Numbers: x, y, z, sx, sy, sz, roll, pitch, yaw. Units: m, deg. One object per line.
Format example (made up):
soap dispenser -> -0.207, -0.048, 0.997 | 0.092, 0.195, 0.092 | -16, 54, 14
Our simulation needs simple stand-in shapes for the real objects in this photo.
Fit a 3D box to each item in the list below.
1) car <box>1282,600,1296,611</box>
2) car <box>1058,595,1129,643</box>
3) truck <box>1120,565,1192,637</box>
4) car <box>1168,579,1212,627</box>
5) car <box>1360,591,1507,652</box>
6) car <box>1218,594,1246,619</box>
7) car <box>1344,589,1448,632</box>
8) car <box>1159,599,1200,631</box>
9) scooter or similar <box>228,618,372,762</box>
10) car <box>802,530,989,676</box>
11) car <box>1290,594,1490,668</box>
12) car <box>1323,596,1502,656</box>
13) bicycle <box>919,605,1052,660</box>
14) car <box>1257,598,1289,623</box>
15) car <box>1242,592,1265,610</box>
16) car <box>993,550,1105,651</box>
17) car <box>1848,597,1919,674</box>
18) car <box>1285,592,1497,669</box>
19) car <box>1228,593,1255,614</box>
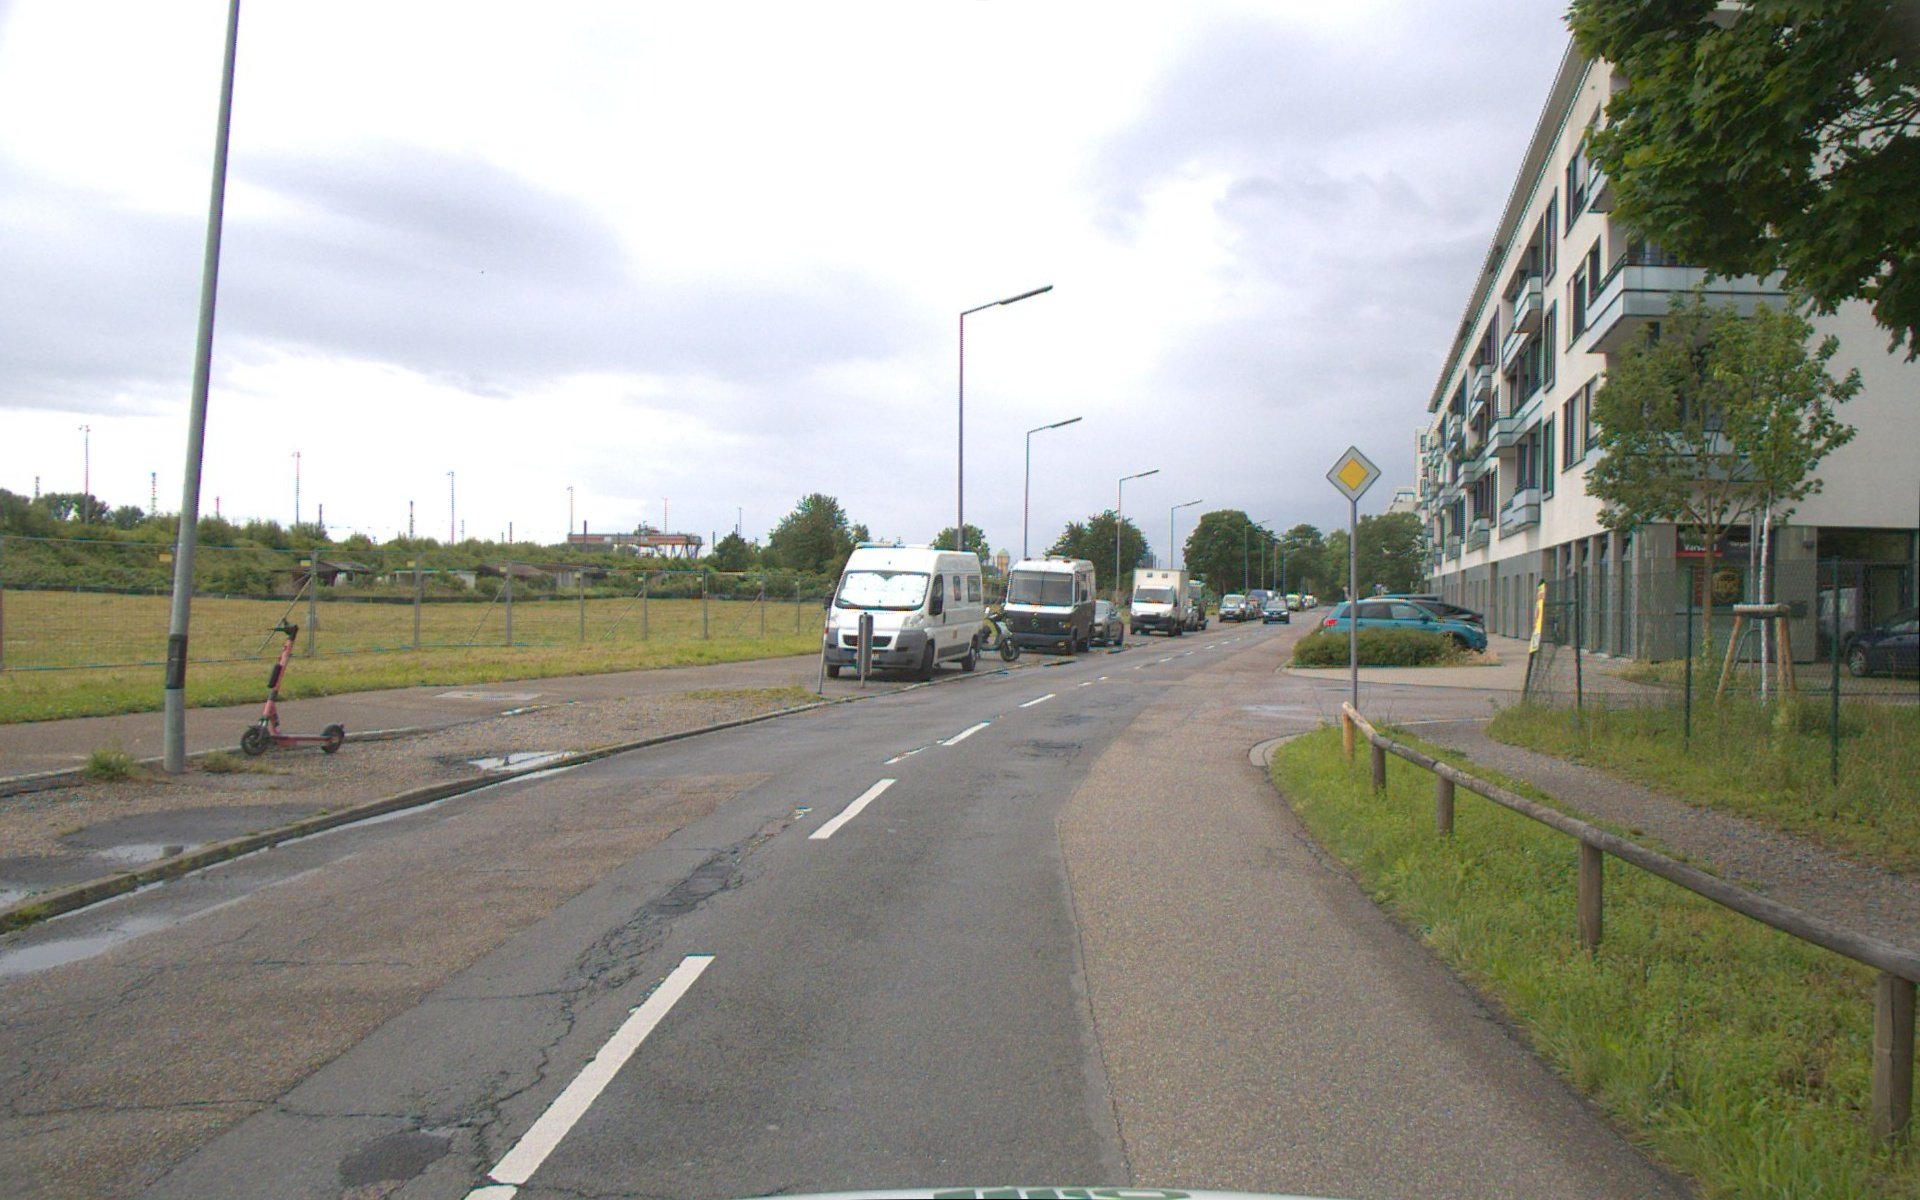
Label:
car -> 47.767, 0.845, 239.934 | 1.718, 1.552, 4.003 | 1, 0, 14
car -> 4.586, 0.618, 56.435 | 1.741, 1.531, 4.003 | 1, 0, 14
truck -> 9.078, 0.017, 76.067 | 2.409, 3.114, 8.169 | 1, 0, 13
car -> 12.969, 0.168, 93.047 | 1.962, 2.619, 4.790 | 1, 0, 13
car -> 14.611, 0.646, 51.231 | 4.234, 1.750, 2.002 | 1, 0, 12
car -> 19.728, 0.444, 119.716 | 1.614, 1.692, 3.578 | 1, 1, 15
car -> 18.778, 0.429, 71.368 | 4.234, 1.750, 2.002 | 1, 0, 12
car -> 11.369, 0.752, 85.675 | 1.717, 1.552, 4.003 | 1, 0, 13
scooter or similar -> -6.051, 0.791, 15.258 | 0.596, 1.203, 1.701 | 3, 0, -1
car -> -1.121, 0.038, 32.930 | 2.240, 2.600, 6.416 | 1, 0, 11
car -> 10.852, 0.763, 41.972 | 4.757, 1.692, 1.844 | 1, 1, 13
car -> 12.720, 0.717, 46.757 | 4.757, 1.526, 1.844 | 1, 1, 13
bicycle -> 0.651, 0.792, 40.879 | 3.054, 1.220, 1.366 | 1, 1, 13
car -> 22.466, 0.756, 118.633 | 1.999, 1.692, 4.110 | 1, 1, 14
car -> 26.165, 0.096, 147.614 | 1.718, 1.552, 4.003 | 1, 0, 14
car -> 2.744, -0.017, 49.221 | 2.251, 2.782, 6.097 | 1, 1, 13
car -> 19.084, 0.694, 31.895 | 1.786, 1.456, 3.771 | 1, 0, -2
car -> 10.225, 0.692, 39.496 | 4.757, 1.644, 1.844 | 1, 1, 13
car -> 21.600, 0.240, 126.859 | 1.718, 1.552, 4.003 | 1, 0, 14
